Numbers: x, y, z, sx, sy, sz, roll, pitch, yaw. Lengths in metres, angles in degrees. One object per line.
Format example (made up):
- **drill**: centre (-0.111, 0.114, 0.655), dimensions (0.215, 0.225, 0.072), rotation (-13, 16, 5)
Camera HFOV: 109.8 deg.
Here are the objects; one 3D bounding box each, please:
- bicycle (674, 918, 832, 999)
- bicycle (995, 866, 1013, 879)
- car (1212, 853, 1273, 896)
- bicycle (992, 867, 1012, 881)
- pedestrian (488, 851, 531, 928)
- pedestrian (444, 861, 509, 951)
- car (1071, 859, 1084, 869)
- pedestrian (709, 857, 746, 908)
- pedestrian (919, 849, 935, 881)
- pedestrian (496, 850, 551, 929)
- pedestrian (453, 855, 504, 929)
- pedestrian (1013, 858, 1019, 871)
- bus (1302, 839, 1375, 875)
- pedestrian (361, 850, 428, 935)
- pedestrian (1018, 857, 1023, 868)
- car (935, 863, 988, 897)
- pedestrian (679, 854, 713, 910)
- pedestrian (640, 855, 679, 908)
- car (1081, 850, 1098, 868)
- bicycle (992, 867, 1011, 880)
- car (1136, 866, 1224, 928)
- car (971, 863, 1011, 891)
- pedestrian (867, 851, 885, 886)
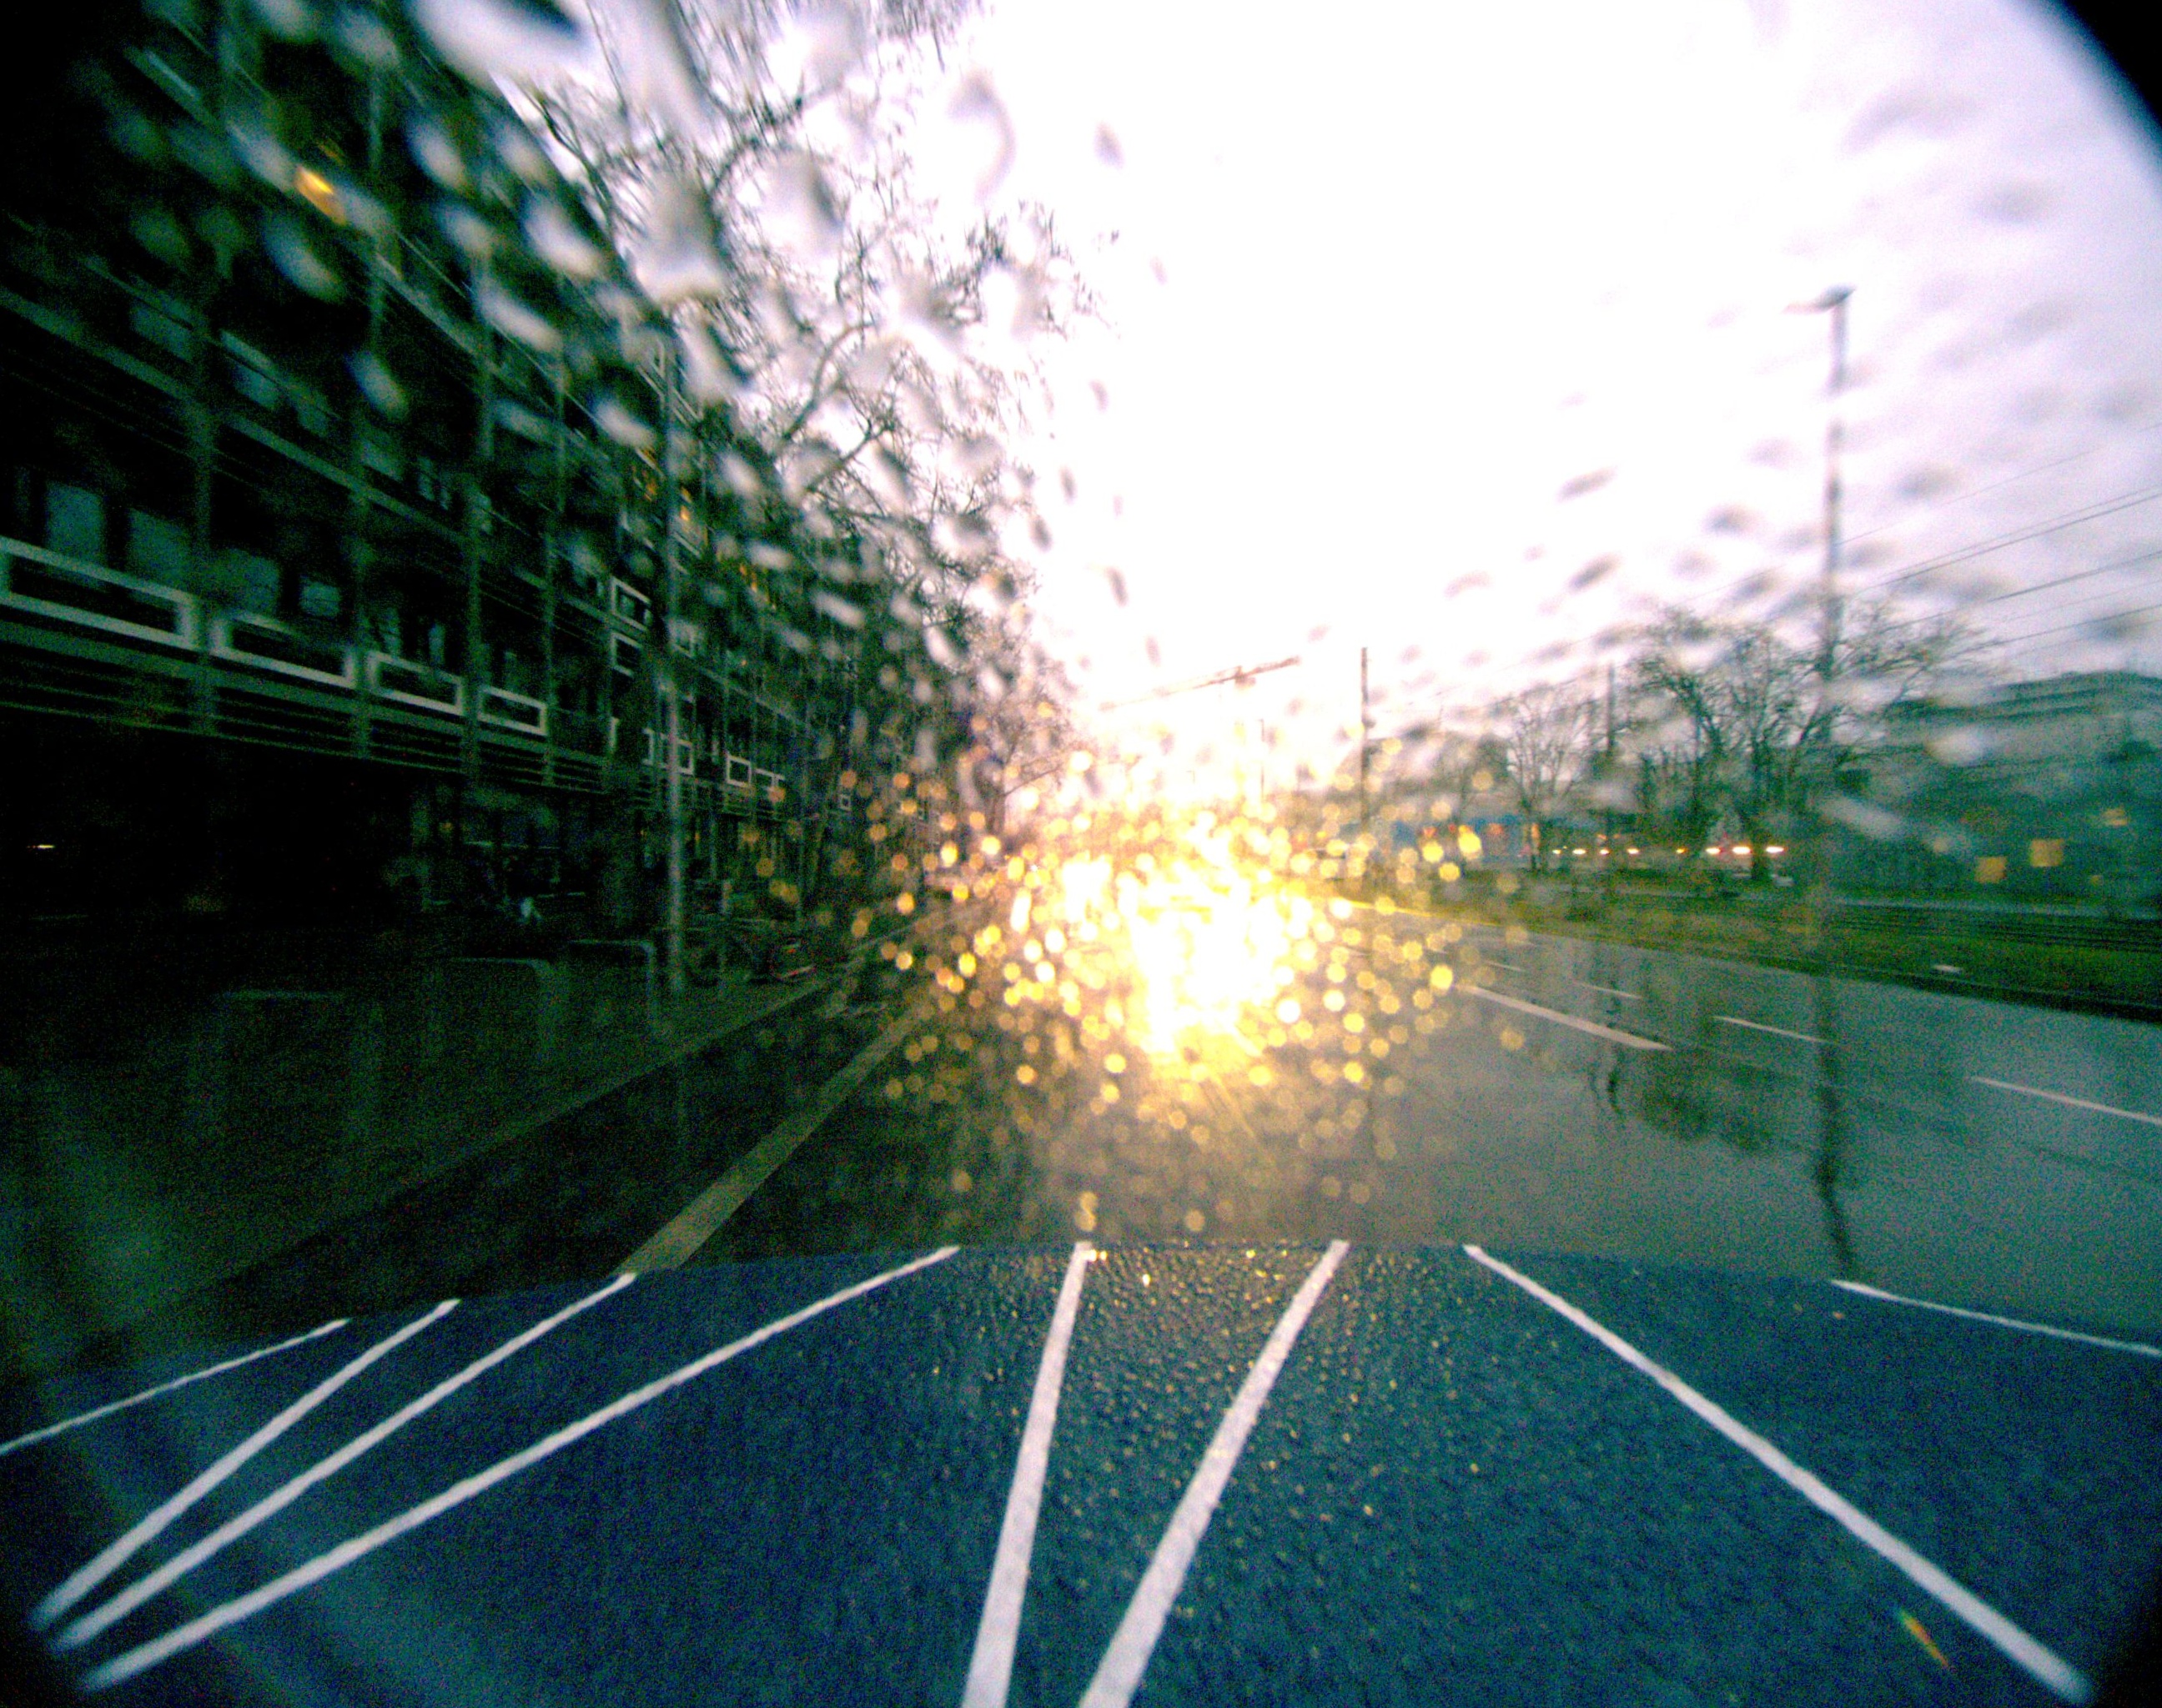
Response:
- **bicycle**: centre (-4.305, 1.371, 10.057), dimensions (1.792, 0.968, 0.617), rotation (1, 0, -3)
- **bicycle**: centre (-6.595, 1.553, 64.989), dimensions (1.523, 1.030, 0.469), rotation (-2, 1, -6)
- **car**: centre (6.946, 0.837, 33.111), dimensions (1.707, 1.732, 4.612), rotation (1, 0, 1)
- **bicycle**: centre (-6.319, 1.576, 60.697), dimensions (1.523, 1.030, 0.469), rotation (-2, 1, -6)
- **pedestrian**: centre (-12.414, 0.756, 16.528), dimensions (0.379, 1.658, 0.713), rotation (0, 0, 2)
- **pedestrian**: centre (-10.649, 0.900, 13.402), dimensions (0.649, 1.535, 0.615), rotation (0, 0, 2)
- **car**: centre (-0.531, 1.613, 121.641), dimensions (1.858, 1.591, 4.001), rotation (-1, -1, 2)
- **pedestrian**: centre (-10.630, 0.844, 22.880), dimensions (0.867, 1.515, 0.837), rotation (0, 0, -14)
- **pedestrian**: centre (-9.864, 0.701, 48.755), dimensions (0.791, 2.002, 1.024), rotation (0, 0, 1)
- **pedestrian**: centre (-11.999, 0.745, 16.374), dimensions (0.501, 1.658, 0.873), rotation (0, 0, 2)
- **pedestrian**: centre (-13.006, 0.798, 16.413), dimensions (0.484, 1.555, 0.745), rotation (0, 0, 0)
- **pedestrian**: centre (-9.978, 1.583, 116.306), dimensions (0.838, 2.002, 0.771), rotation (-2, 1, 0)
- **bus**: centre (27.508, 0.306, 81.936), dimensions (2.815, 3.556, 12.301), rotation (0, 0, -5)
- **pedestrian**: centre (-13.769, 0.755, 15.250), dimensions (0.617, 1.646, 0.780), rotation (0, 0, 2)
- **pedestrian**: centre (-11.030, 1.491, 137.923), dimensions (0.838, 2.002, 0.771), rotation (-2, 1, 0)
- **car**: centre (-5.585, 1.181, 35.860), dimensions (1.608, 1.423, 3.931), rotation (2, 0, 3)
- **pedestrian**: centre (-12.051, 0.866, 23.819), dimensions (0.660, 1.708, 0.842), rotation (0, 0, -4)
- **pedestrian**: centre (-13.155, 0.845, 23.717), dimensions (0.640, 1.645, 0.844), rotation (0, 0, 20)
- **car**: centre (1.057, 0.627, 91.003), dimensions (1.858, 2.001, 4.001), rotation (0, -1, 2)
- **bicycle**: centre (-6.498, 1.593, 62.128), dimensions (1.523, 1.030, 0.469), rotation (-2, 1, -6)
- **car**: centre (2.647, 1.109, 21.274), dimensions (1.778, 1.466, 4.129), rotation (2, 0, -1)
- **car**: centre (-5.112, 1.296, 43.559), dimensions (1.764, 1.539, 4.019), rotation (0, 0, 1)
- **pedestrian**: centre (-11.654, 0.812, 43.171), dimensions (0.822, 2.002, 0.736), rotation (0, 0, -1)
